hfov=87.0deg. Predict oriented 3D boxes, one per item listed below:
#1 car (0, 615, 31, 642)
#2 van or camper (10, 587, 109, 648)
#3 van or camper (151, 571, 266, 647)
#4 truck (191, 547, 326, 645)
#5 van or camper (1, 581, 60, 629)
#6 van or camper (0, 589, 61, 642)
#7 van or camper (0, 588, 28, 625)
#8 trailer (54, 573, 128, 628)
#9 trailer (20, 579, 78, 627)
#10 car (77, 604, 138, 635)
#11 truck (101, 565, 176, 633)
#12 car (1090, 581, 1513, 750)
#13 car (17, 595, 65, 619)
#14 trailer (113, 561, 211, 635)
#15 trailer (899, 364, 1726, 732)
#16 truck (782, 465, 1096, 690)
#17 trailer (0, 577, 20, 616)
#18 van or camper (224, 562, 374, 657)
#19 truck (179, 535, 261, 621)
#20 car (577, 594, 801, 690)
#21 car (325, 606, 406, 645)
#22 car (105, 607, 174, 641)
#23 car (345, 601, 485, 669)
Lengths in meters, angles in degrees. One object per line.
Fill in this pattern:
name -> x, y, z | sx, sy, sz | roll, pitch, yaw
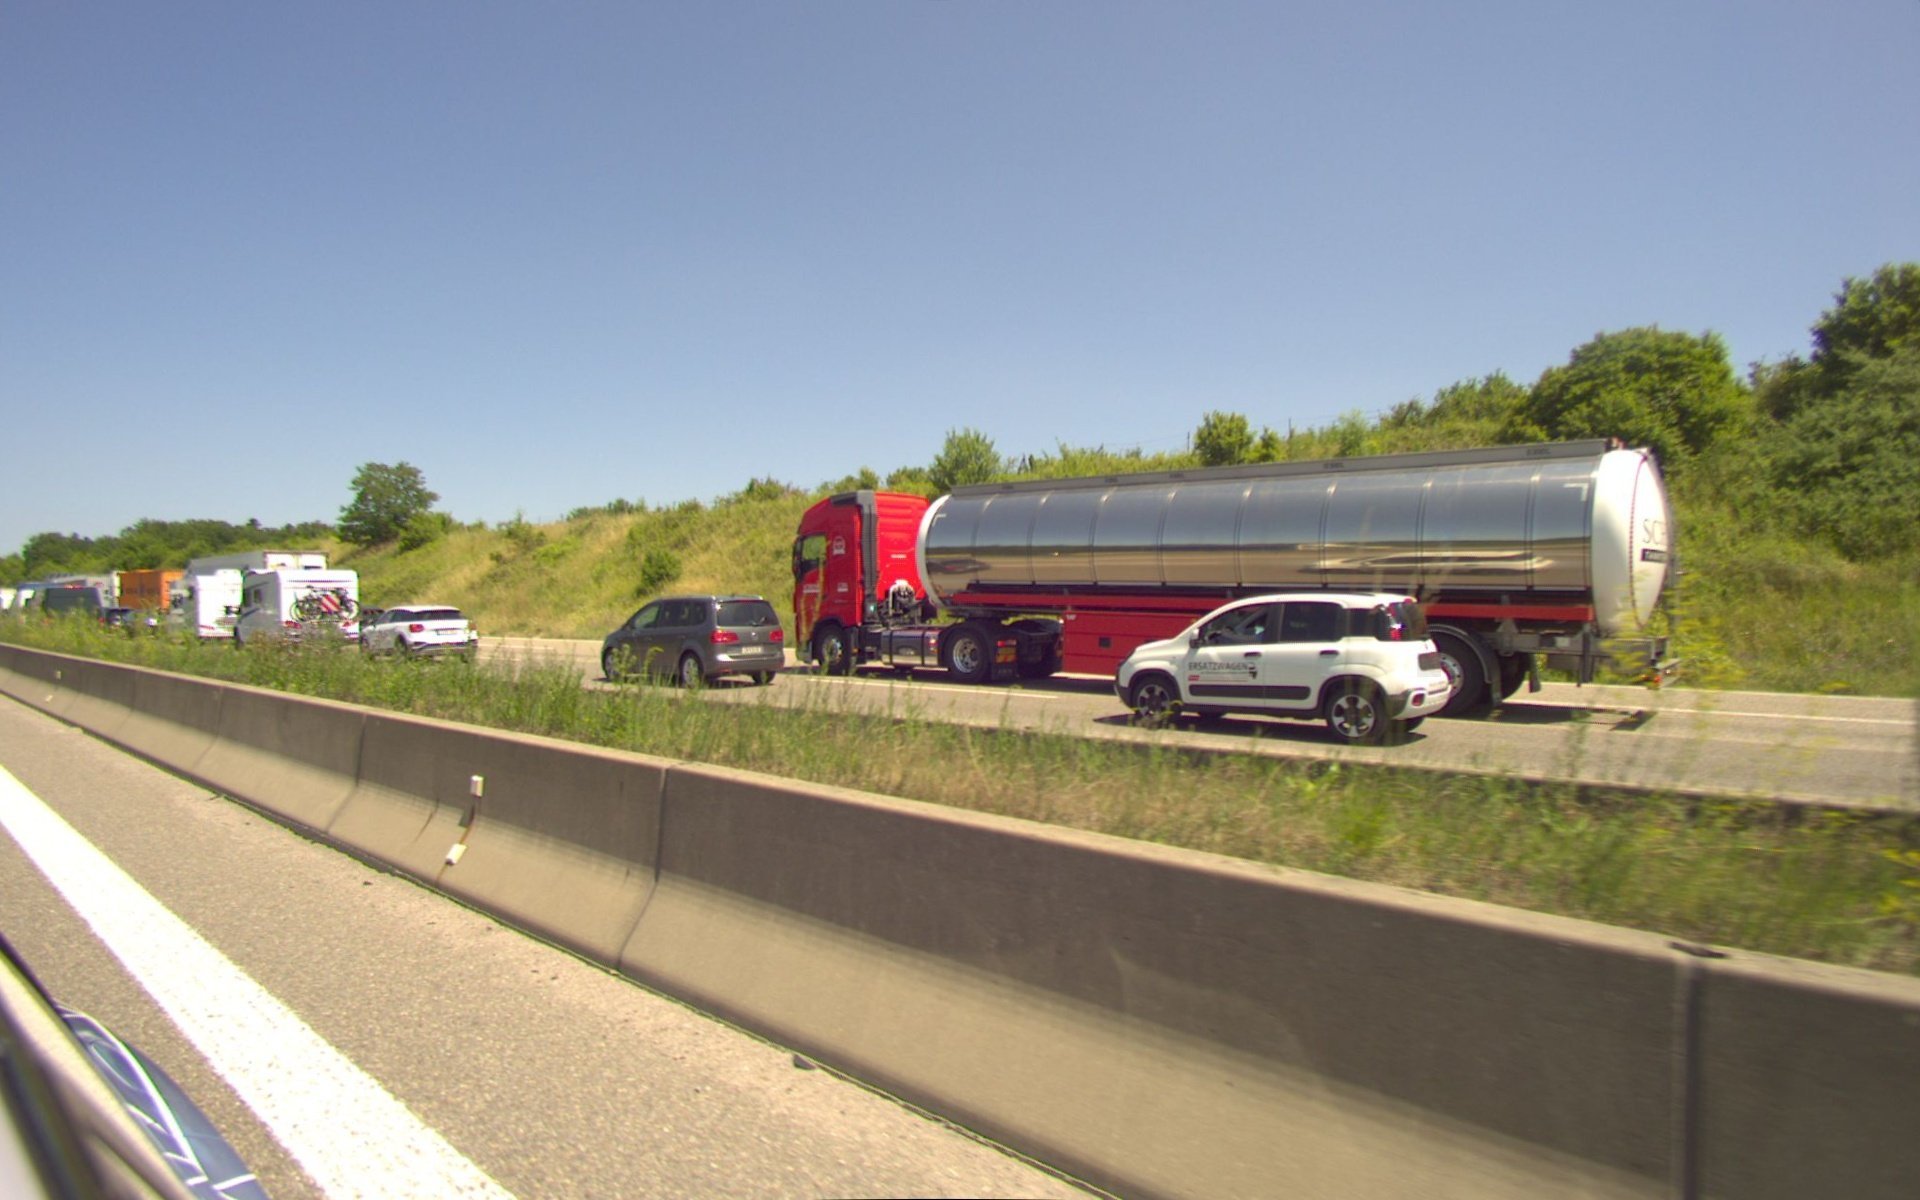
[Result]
car -> -53.368, 1.546, 56.381 | 4.880, 1.419, 1.800 | 0, 0, 41
van or camper -> -39.150, 0.710, 43.921 | 7.279, 2.453, 2.273 | 0, 0, 41
van or camper -> -31.990, 0.365, 42.945 | 7.827, 2.959, 2.517 | 0, 0, 43
truck -> -34.920, -0.191, 50.083 | 12.416, 4.358, 2.494 | 0, 1, 41
van or camper -> -68.101, 0.366, 74.083 | 7.675, 3.416, 2.289 | 0, 0, 41
van or camper -> -47.393, 0.772, 51.135 | 6.055, 2.525, 2.170 | 0, 0, 41
van or camper -> -79.102, 0.540, 83.794 | 7.221, 2.945, 2.128 | 0, 1, 41
trailer -> -68.578, 0.018, 79.735 | 12.245, 4.064, 2.752 | 0, 1, 41
trailer -> -85.014, 0.248, 94.315 | 10.788, 4.272, 2.760 | 0, 1, 41
car -> -46.372, 1.042, 54.996 | 4.880, 1.600, 1.800 | 0, 0, 41
truck -> -55.358, -0.058, 68.114 | 7.288, 4.358, 2.563 | 0, 1, 40
car -> 3.687, 0.625, 11.385 | 4.187, 1.561, 1.736 | 0, -1, 41
car -> -57.099, 0.419, 62.851 | 4.111, 1.476, 1.713 | 0, 0, 41
trailer -> -50.641, -0.112, 64.034 | 11.993, 4.342, 2.585 | 0, 1, 41
trailer -> 4.322, -0.507, 16.044 | 12.272, 3.979, 2.651 | -1, 0, 42
truck -> -0.569, -0.390, 20.367 | 6.029, 3.852, 2.754 | 0, 1, 41
trailer -> -111.198, -0.366, 117.140 | 11.712, 4.337, 2.751 | 0, 0, 44
van or camper -> -23.277, 0.315, 35.417 | 8.130, 2.959, 2.517 | 0, 0, 43
truck -> -39.884, -1.126, 54.462 | 5.665, 4.358, 2.493 | 0, 1, 43
car -> -5.215, 0.709, 19.068 | 4.783, 1.596, 1.736 | 0, 0, 41
car -> -23.975, 0.995, 40.787 | 3.925, 1.508, 1.676 | 0, 0, 41
car -> -40.322, 1.150, 49.688 | 4.880, 1.600, 1.800 | 0, 0, 41
car -> -14.437, 0.856, 26.722 | 4.356, 1.639, 1.862 | 0, 0, 41
